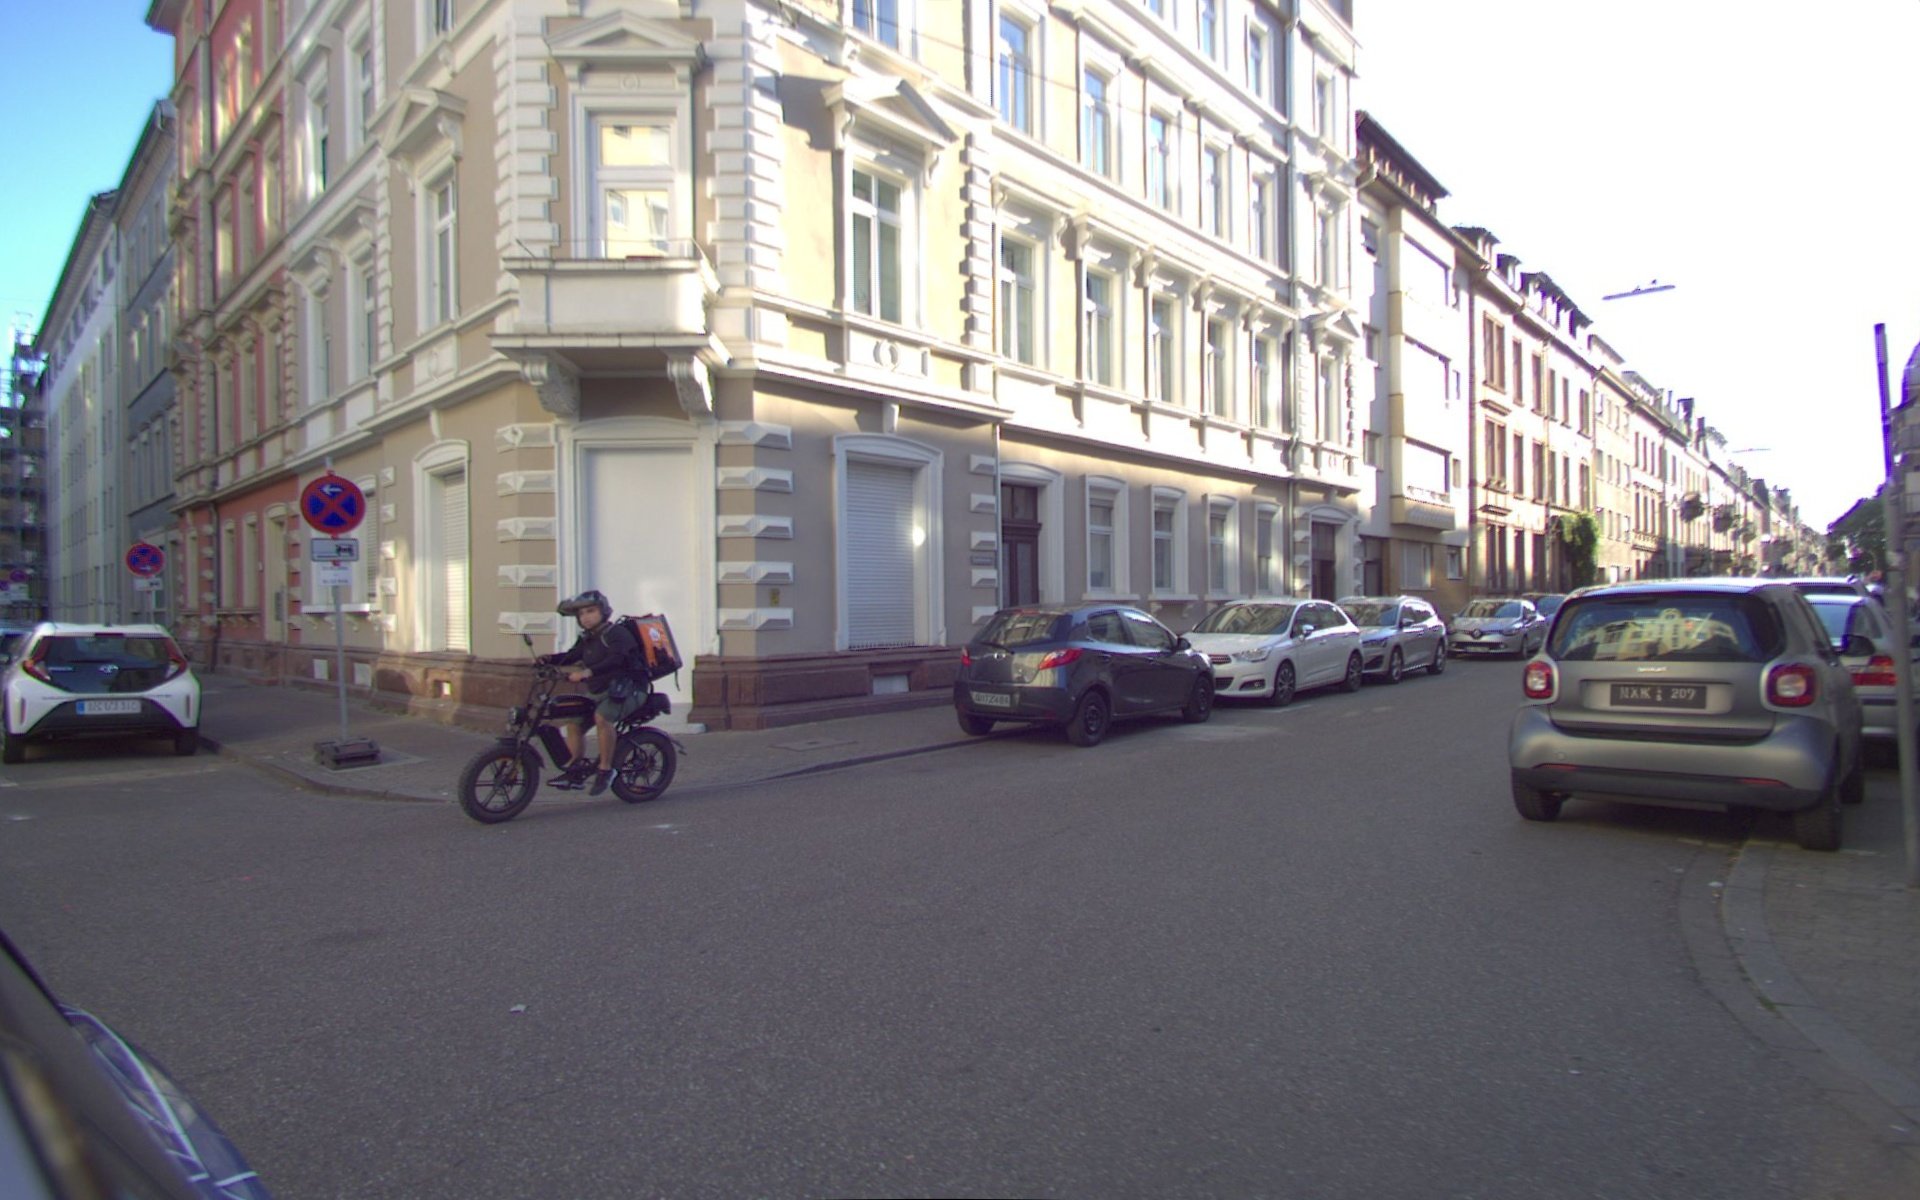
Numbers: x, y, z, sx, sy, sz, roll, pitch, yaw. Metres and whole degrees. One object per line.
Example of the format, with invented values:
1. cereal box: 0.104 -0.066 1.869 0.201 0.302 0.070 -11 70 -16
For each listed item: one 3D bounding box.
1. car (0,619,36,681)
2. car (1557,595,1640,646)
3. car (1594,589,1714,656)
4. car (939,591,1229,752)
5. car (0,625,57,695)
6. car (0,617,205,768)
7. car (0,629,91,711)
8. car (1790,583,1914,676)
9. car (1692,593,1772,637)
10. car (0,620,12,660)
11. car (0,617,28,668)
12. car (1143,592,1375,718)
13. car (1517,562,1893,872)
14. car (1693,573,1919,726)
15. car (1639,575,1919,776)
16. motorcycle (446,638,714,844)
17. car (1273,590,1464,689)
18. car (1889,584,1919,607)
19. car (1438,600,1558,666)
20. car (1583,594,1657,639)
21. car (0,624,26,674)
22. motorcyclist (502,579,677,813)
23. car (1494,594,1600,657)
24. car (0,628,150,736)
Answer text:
1. car: -26.009 1.301 27.056 4.430 1.534 1.576 -1 0 43
2. car: 21.851 0.664 34.567 1.834 1.572 4.038 -1 0 41
3. car: 17.313 0.505 25.159 1.999 1.497 3.945 -1 0 41
4. car: 1.535 0.675 11.523 1.685 1.490 3.544 -1 0 38
5. car: -22.372 1.346 23.605 4.195 1.510 1.516 -1 -2 43
6. car: -10.461 1.000 12.157 1.664 1.507 3.847 4 -3 -44
7. car: -17.942 1.286 19.365 3.913 1.426 1.567 -1 -4 44
8. car: 17.662 0.520 19.991 1.659 1.656 3.555 -1 0 44
9. car: 29.336 0.543 38.419 2.000 1.497 4.598 -1 0 43
10. car: -40.835 1.664 41.906 4.493 1.597 1.972 -1 0 43
11. car: -33.774 1.451 34.932 4.493 1.662 1.972 -1 0 43
12. car: 4.590 0.715 15.176 1.834 1.572 4.038 -1 0 41
13. car: 5.014 0.579 6.711 1.649 1.577 2.724 -1 0 44
14. car: 11.059 0.520 13.206 2.000 1.666 4.036 -1 0 42
15. car: 7.915 0.523 9.440 1.968 1.464 4.203 -1 0 43
16. motorcycle: -2.821 0.972 7.555 1.670 1.259 0.809 -3 0 -34
17. car: 7.595 0.644 18.619 2.008 1.572 4.037 -1 0 41
18. car: 72.097 -0.377 76.912 4.517 1.636 2.001 -2 0 -45
19. car: 13.083 0.751 24.517 1.834 1.413 3.546 -1 0 41
20. car: 25.183 0.602 38.564 1.834 1.572 4.038 -1 0 41
21. car: -30.214 1.506 31.245 4.352 1.439 1.640 -1 0 42
22. motorcyclist: -2.798 0.671 7.618 0.983 1.579 0.877 -3 0 -34
23. car: 16.310 0.652 28.034 1.834 1.572 4.038 -1 0 41
24. car: -13.957 1.171 15.682 3.962 1.439 1.592 -1 -3 43
